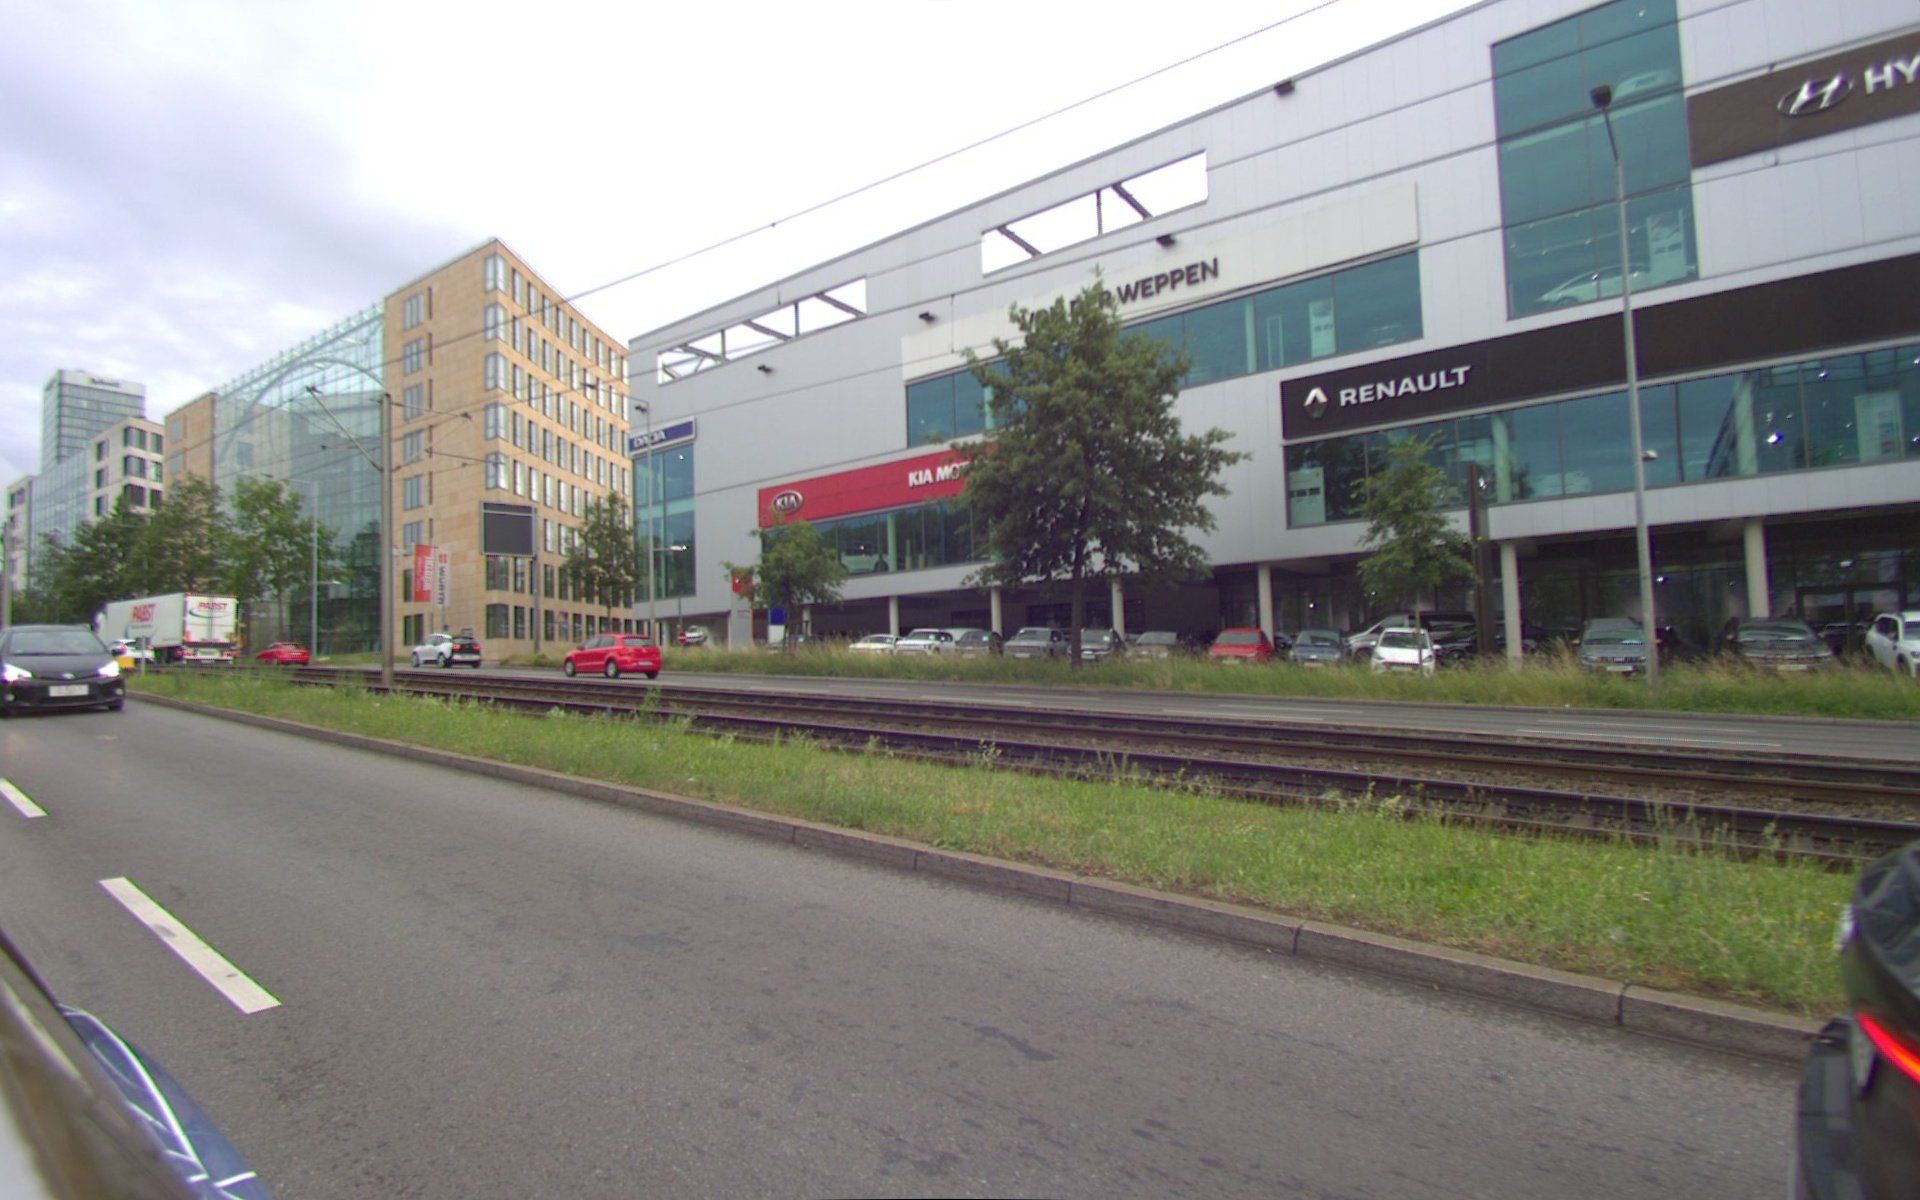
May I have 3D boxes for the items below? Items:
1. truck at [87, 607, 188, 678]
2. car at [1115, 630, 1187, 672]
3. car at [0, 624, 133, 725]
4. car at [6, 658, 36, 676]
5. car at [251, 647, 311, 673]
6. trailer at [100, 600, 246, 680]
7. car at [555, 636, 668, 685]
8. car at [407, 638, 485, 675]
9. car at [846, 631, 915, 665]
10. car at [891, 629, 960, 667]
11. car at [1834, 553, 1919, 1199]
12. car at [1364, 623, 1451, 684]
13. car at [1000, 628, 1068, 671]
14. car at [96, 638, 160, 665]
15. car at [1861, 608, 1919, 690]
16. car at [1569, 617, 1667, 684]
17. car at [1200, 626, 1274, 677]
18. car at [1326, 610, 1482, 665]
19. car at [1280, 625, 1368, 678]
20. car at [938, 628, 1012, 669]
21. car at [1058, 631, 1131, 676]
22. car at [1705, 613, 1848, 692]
[{"bbox_3d":[-52.005,2.711,63.948,7.014,4.276,3.107,-2,-5,36],"label":"truck"},{"bbox_3d":[6.661,1.736,35.081,1.688,1.190,3.498,-2,1,24],"label":"car"},{"bbox_3d":[-15.833,1.218,17.571,3.825,1.544,1.682,-2,-2,41],"label":"car"},{"bbox_3d":[-91.316,6.479,98.384,3.996,1.630,1.610,-2,-2,40],"label":"car"},{"bbox_3d":[-39.412,3.471,58.723,4.018,1.380,1.668,-2,-2,37],"label":"car"},{"bbox_3d":[-47.108,2.446,60.332,13.254,4.363,3.106,-2,-5,36],"label":"trailer"},{"bbox_3d":[-11.456,1.969,33.183,4.098,1.524,1.568,-2,-4,40],"label":"car"},{"bbox_3d":[-23.835,2.583,46.872,4.093,1.593,1.668,-2,-2,38],"label":"car"},{"bbox_3d":[-3.368,2.036,43.397,1.685,1.196,3.643,-2,1,18],"label":"car"},{"bbox_3d":[-1.378,1.957,41.721,1.685,1.304,3.643,-2,1,18],"label":"car"},{"bbox_3d":[3.261,0.638,0.283,4.511,1.478,1.762,-2,-2,41],"label":"car"},{"bbox_3d":[13.364,1.537,30.103,1.914,1.470,4.005,-2,1,30],"label":"car"},{"bbox_3d":[2.862,1.860,38.445,1.686,1.362,3.503,-2,1,20],"label":"car"},{"bbox_3d":[-45.443,2.793,55.279,4.090,1.447,1.669,-2,-4,36],"label":"car"},{"bbox_3d":[22.007,1.029,22.567,1.992,1.562,4.331,-2,1,30],"label":"car"},{"bbox_3d":[17.270,1.274,26.728,1.925,1.470,3.981,-2,1,30],"label":"car"},{"bbox_3d":[9.155,1.656,33.236,1.789,1.362,3.903,-2,1,24],"label":"car"},{"bbox_3d":[15.371,1.284,35.256,4.488,1.796,1.997,-1,-2,5],"label":"car"},{"bbox_3d":[11.490,1.570,31.800,1.914,1.362,4.005,-2,1,30],"label":"car"},{"bbox_3d":[0.629,1.891,39.790,1.688,1.362,3.499,-2,1,23],"label":"car"},{"bbox_3d":[4.914,1.896,36.541,1.688,1.362,3.498,-2,1,24],"label":"car"},{"bbox_3d":[19.469,1.186,24.342,1.992,1.562,4.331,-2,1,30],"label":"car"}]
